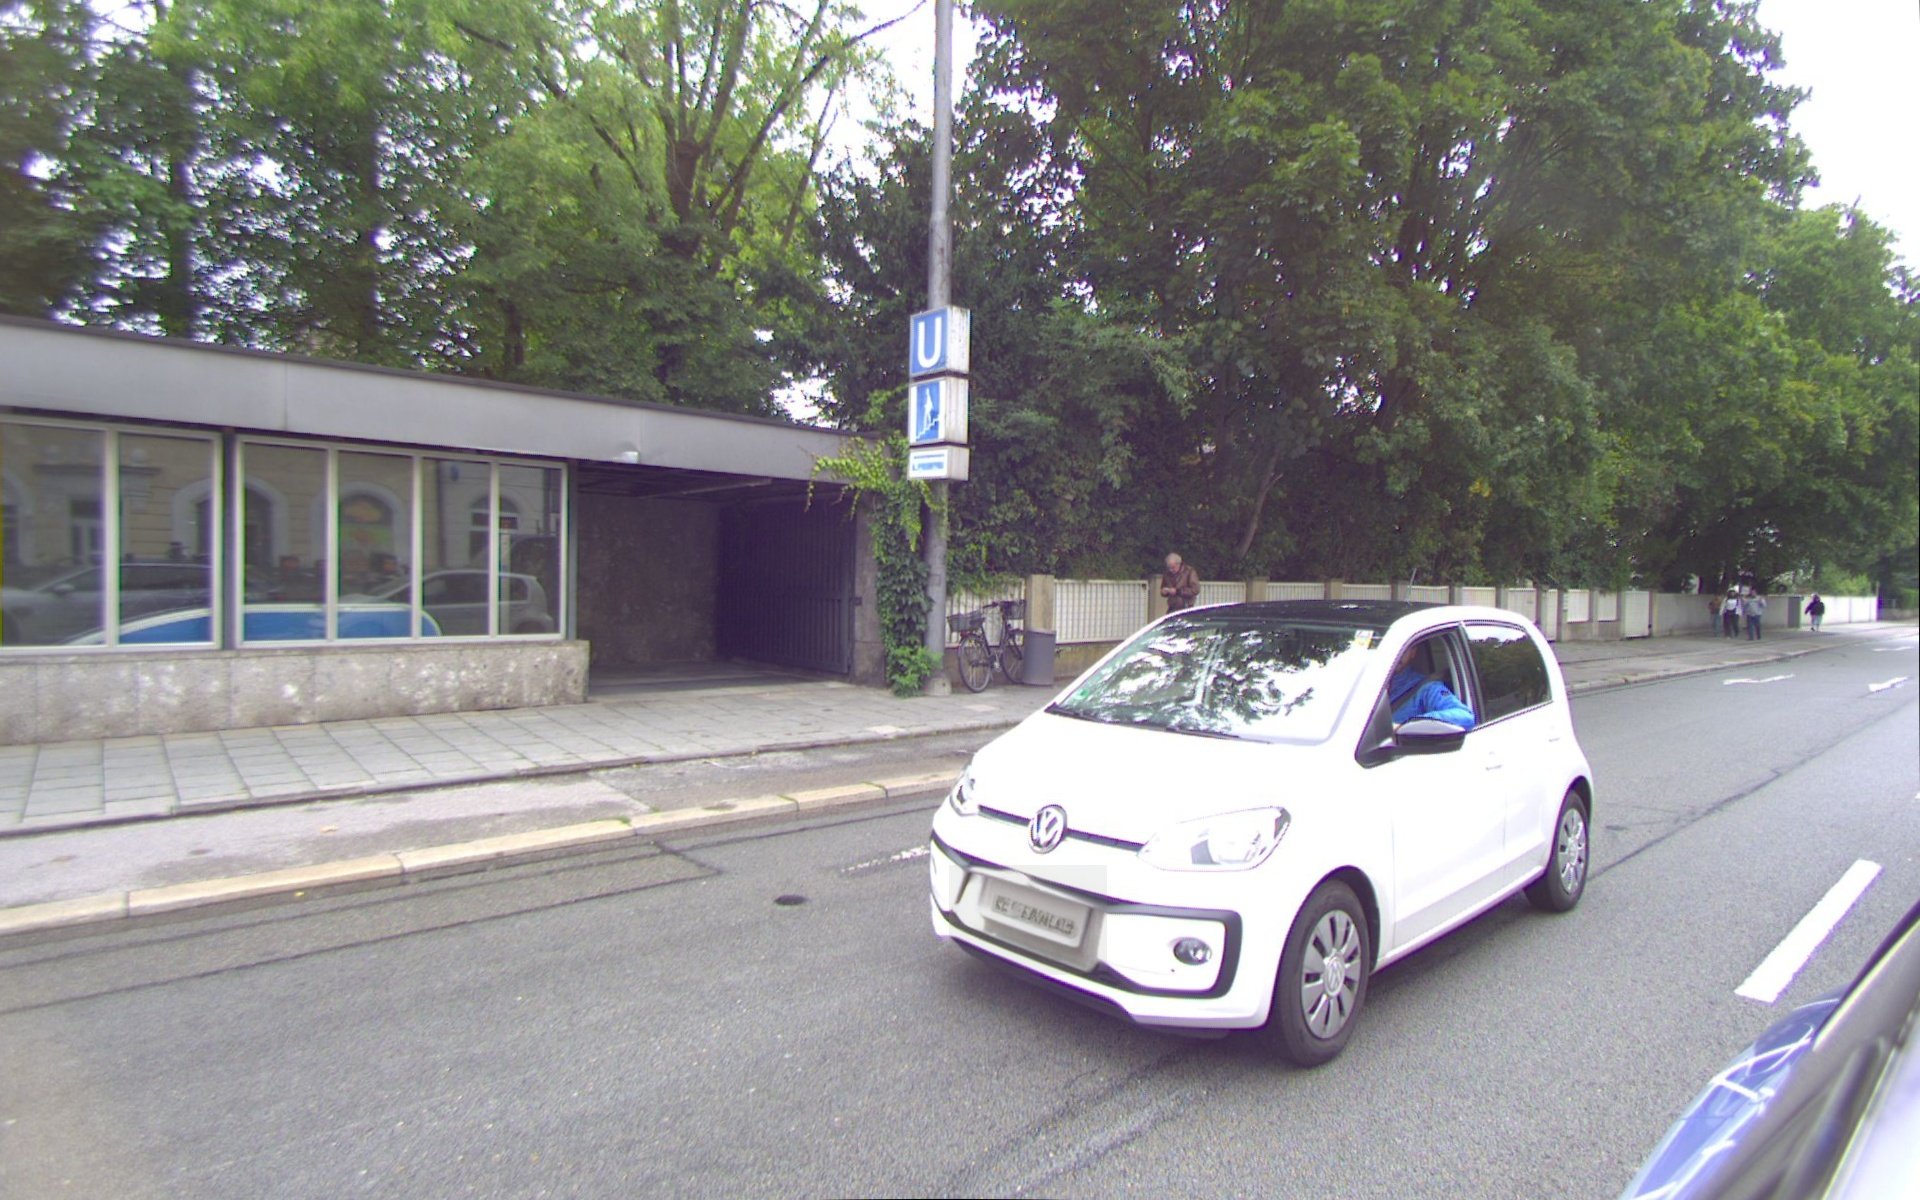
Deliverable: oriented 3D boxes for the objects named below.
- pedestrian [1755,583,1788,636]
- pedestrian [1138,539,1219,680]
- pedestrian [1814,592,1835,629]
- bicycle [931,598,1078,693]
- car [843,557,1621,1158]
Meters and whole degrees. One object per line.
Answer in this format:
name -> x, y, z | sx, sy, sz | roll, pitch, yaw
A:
pedestrian -> 27.536, 0.321, 34.332 | 0.753, 1.726, 0.667 | 0, 3, -42
pedestrian -> 3.173, 0.111, 14.697 | 0.788, 1.966, 0.779 | 0, 2, -40
pedestrian -> 39.217, 0.472, 45.910 | 0.716, 1.600, 0.529 | 0, 3, -42
bicycle -> 0.596, 0.539, 12.906 | 1.991, 1.104, 0.623 | 0, 1, -41
car -> 1.408, 0.652, 4.457 | 3.524, 1.581, 1.645 | 0, 1, -42
